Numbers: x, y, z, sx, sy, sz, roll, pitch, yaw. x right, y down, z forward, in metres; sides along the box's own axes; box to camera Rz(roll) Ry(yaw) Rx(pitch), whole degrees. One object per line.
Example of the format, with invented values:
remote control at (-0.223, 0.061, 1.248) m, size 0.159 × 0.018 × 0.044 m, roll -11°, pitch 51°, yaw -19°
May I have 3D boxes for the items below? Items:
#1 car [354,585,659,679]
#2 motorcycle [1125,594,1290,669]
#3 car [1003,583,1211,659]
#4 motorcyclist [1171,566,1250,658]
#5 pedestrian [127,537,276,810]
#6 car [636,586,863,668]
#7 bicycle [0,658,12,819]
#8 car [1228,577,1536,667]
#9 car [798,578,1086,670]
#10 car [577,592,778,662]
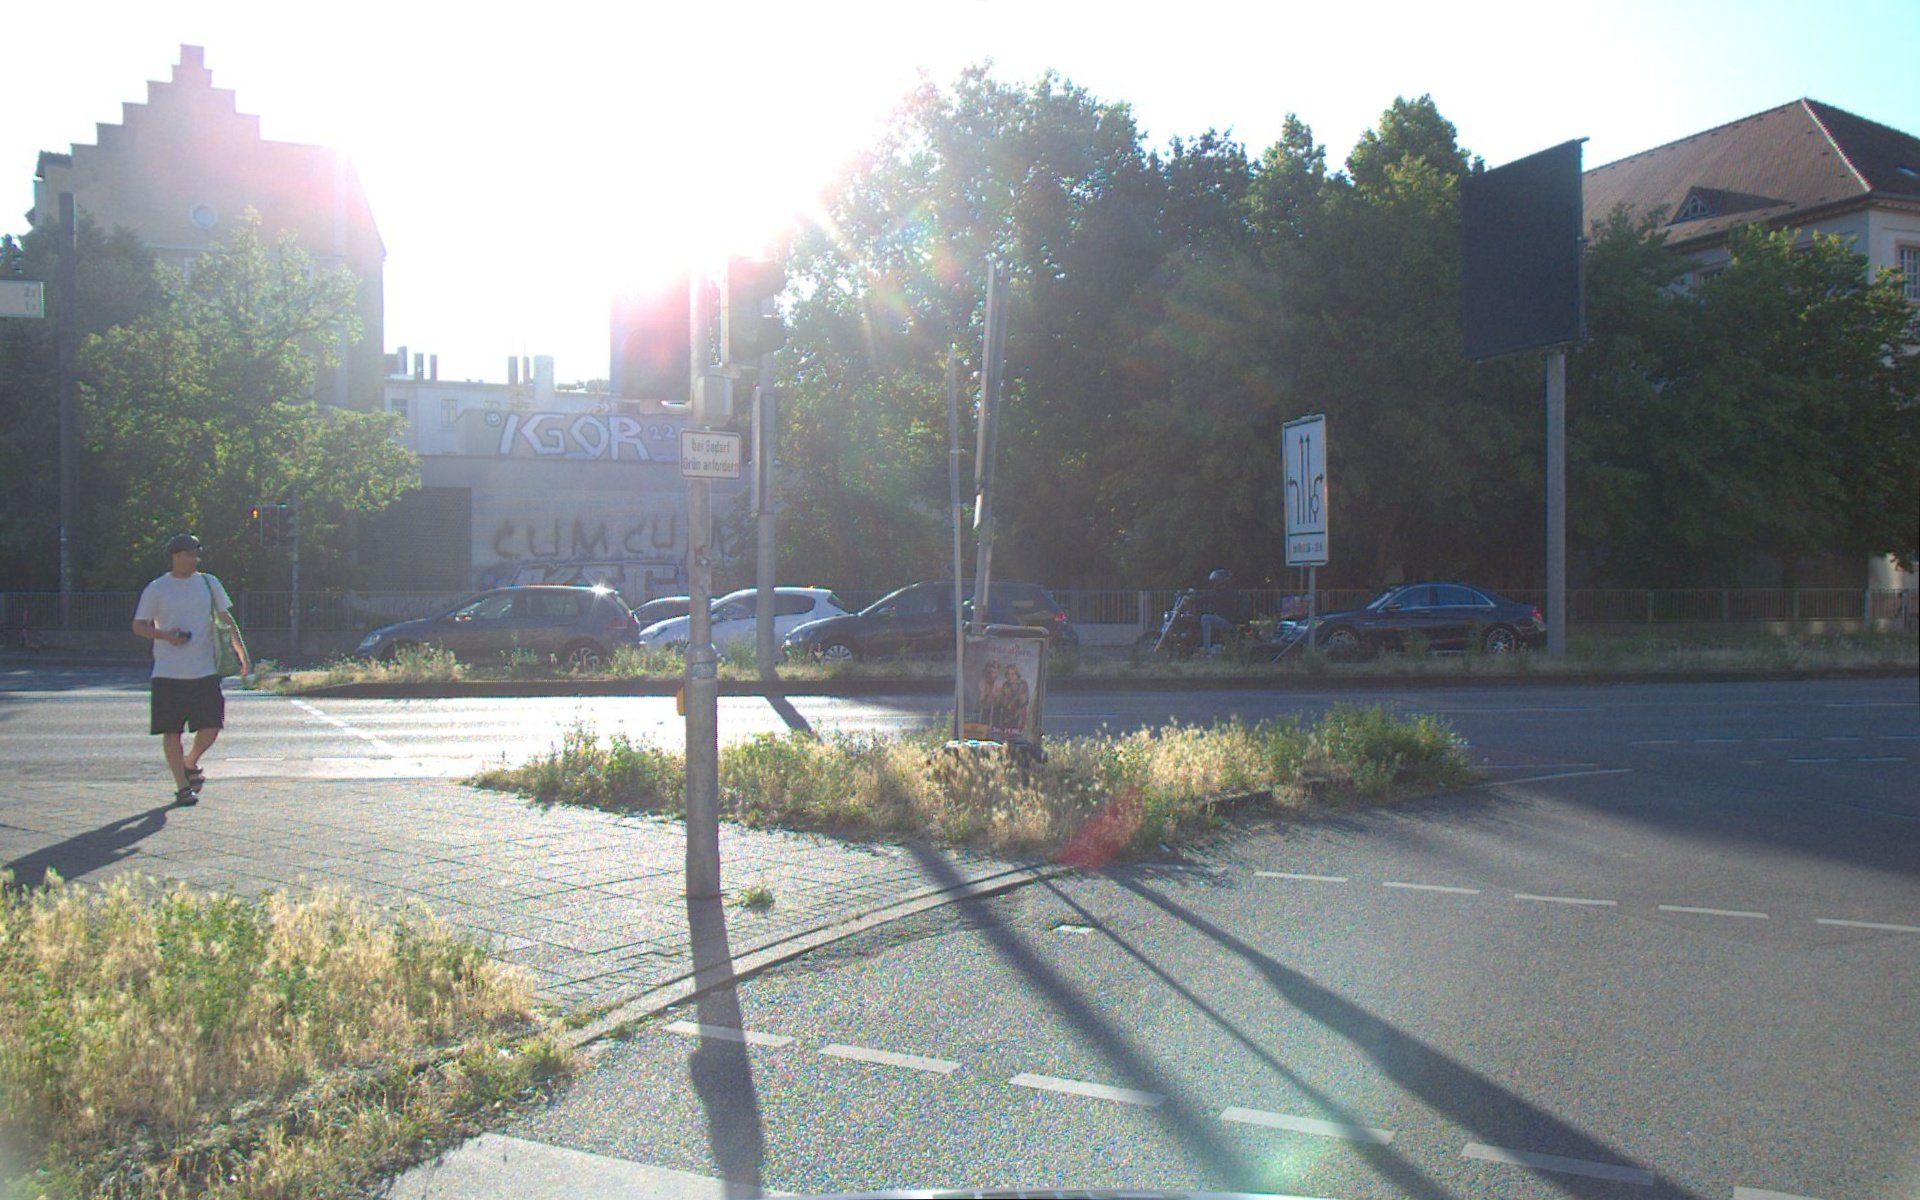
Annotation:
car at (-6.719, 0.451, 24.837) m, size 4.152 × 1.319 × 1.722 m, roll 0°, pitch 0°, yaw -5°
motorcycle at (3.869, 0.477, 25.958) m, size 2.415 × 1.127 × 0.860 m, roll 0°, pitch 0°, yaw -7°
car at (3.007, 0.403, 34.160) m, size 3.919 × 1.489 × 1.853 m, roll -1°, pitch 1°, yaw -14°
motorcyclist at (3.923, 0.183, 25.965) m, size 1.038 × 1.422 × 0.853 m, roll 0°, pitch 0°, yaw -7°
pedestrian at (-5.334, 0.483, 11.616) m, size 0.898 × 1.820 × 0.819 m, roll 0°, pitch 0°, yaw -29°
car at (-3.671, 0.442, 28.862) m, size 3.810 × 1.342 × 1.721 m, roll 0°, pitch 0°, yaw -9°
bicycle at (-7.066, 0.910, 10.838) m, size 1.631 × 1.047 × 0.400 m, roll 0°, pitch 0°, yaw 12°
car at (7.711, 0.373, 30.363) m, size 5.183 × 1.522 × 1.993 m, roll -1°, pitch 0°, yaw -13°
car at (-0.332, 0.350, 25.432) m, size 4.279 × 1.319 × 1.722 m, roll 0°, pitch 0°, yaw -7°
car at (-5.557, 0.512, 32.791) m, size 3.810 × 1.319 × 1.721 m, roll 0°, pitch 0°, yaw -9°
